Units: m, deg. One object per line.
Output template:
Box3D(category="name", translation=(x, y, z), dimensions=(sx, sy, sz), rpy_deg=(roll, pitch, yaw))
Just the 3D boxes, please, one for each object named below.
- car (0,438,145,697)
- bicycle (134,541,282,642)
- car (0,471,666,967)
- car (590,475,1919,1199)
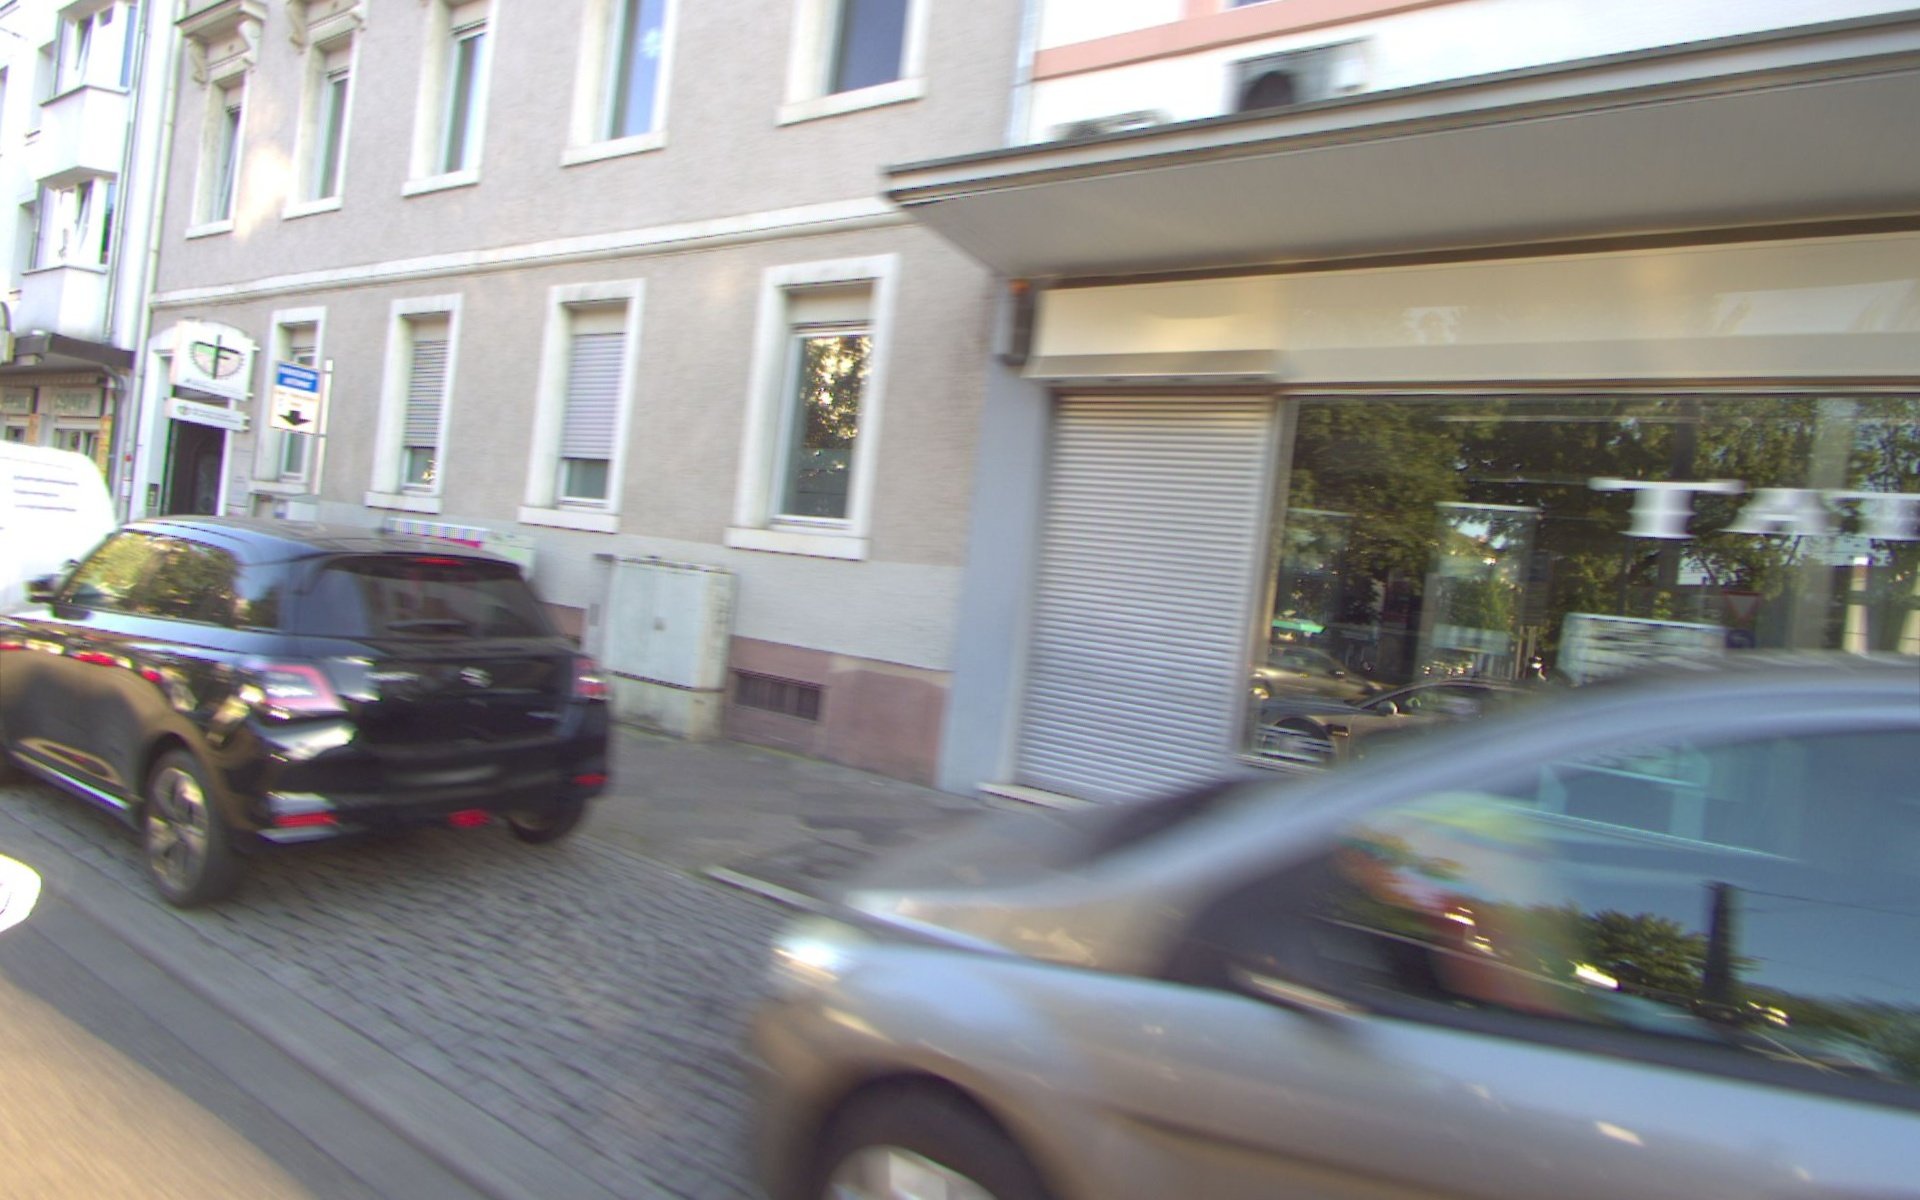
Box3D(category="car", translation=(-8.748, -0.461, 8.343), dimensions=(4.235, 1.857, 1.712), rpy_deg=(7, -1, 33))
Box3D(category="bicycle", translation=(-9.098, -0.107, 12.173), dimensions=(1.680, 1.024, 0.456), rpy_deg=(6, -1, 17))
Box3D(category="car", translation=(-3.540, 0.330, 5.096), dimensions=(3.818, 1.562, 1.670), rpy_deg=(7, -1, 32))
Box3D(category="car", translation=(1.421, 0.855, 1.848), dimensions=(4.039, 1.684, 1.660), rpy_deg=(7, -1, 31))
